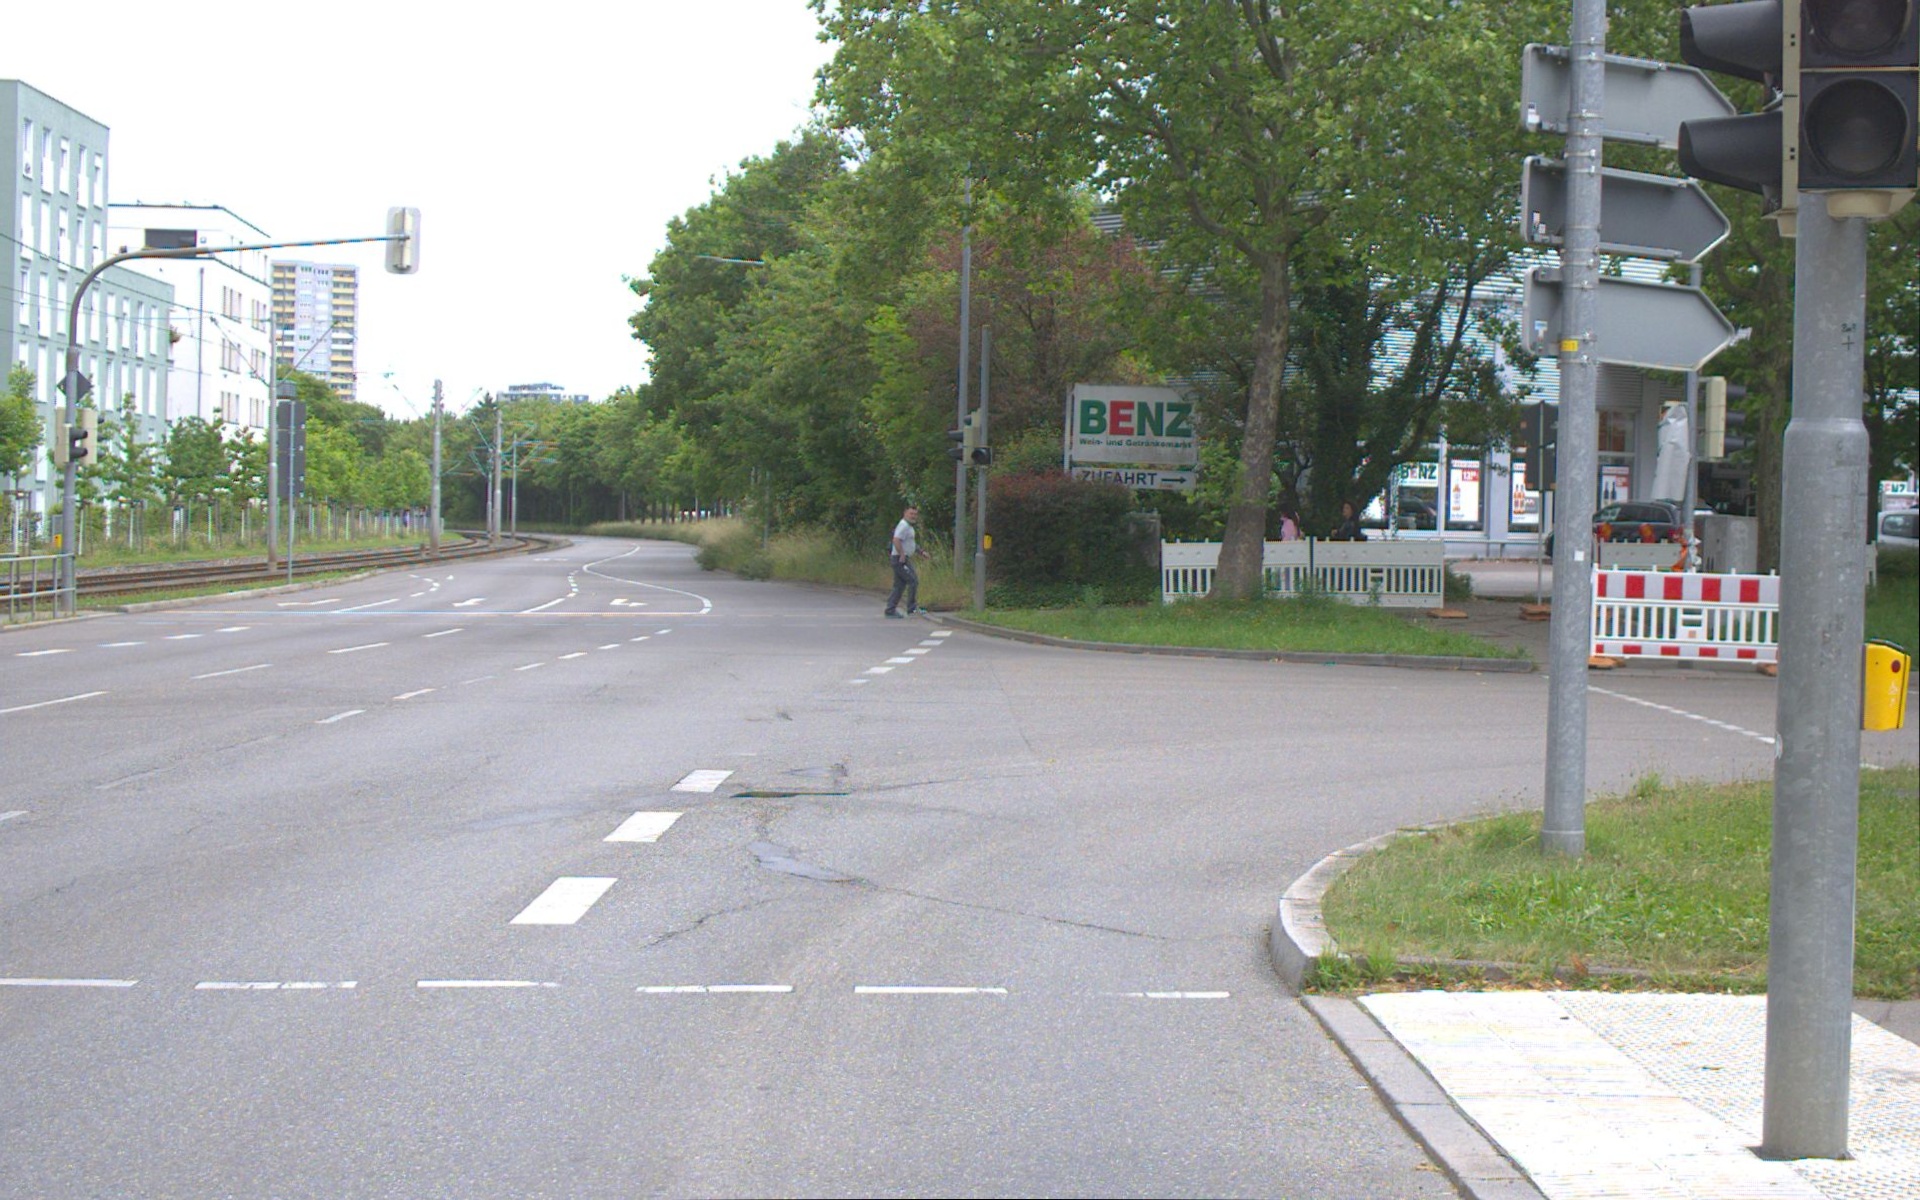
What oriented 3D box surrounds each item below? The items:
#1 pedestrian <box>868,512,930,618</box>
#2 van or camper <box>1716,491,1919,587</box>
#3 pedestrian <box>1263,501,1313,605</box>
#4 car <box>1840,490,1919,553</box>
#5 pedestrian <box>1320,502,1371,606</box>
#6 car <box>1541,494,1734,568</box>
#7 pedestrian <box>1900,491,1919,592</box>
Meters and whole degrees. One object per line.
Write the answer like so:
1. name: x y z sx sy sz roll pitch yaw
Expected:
1. pedestrian: -0.919 -0.525 52.013 0.848 1.581 0.796 1 0 5
2. van or camper: 15.667 -1.116 61.992 1.840 1.678 4.001 -1 2 -28
3. pedestrian: 4.748 -0.682 49.809 0.697 1.484 0.688 1 0 5
4. car: 21.824 -1.784 78.215 1.480 1.399 3.409 0 1 -31
5. pedestrian: 5.533 -0.658 49.378 0.697 1.484 0.720 1 0 6
6. car: 14.244 -1.445 72.506 1.728 1.495 4.269 1 1 -27
7. pedestrian: 19.328 -1.165 68.656 0.804 1.995 0.853 1 0 -4
